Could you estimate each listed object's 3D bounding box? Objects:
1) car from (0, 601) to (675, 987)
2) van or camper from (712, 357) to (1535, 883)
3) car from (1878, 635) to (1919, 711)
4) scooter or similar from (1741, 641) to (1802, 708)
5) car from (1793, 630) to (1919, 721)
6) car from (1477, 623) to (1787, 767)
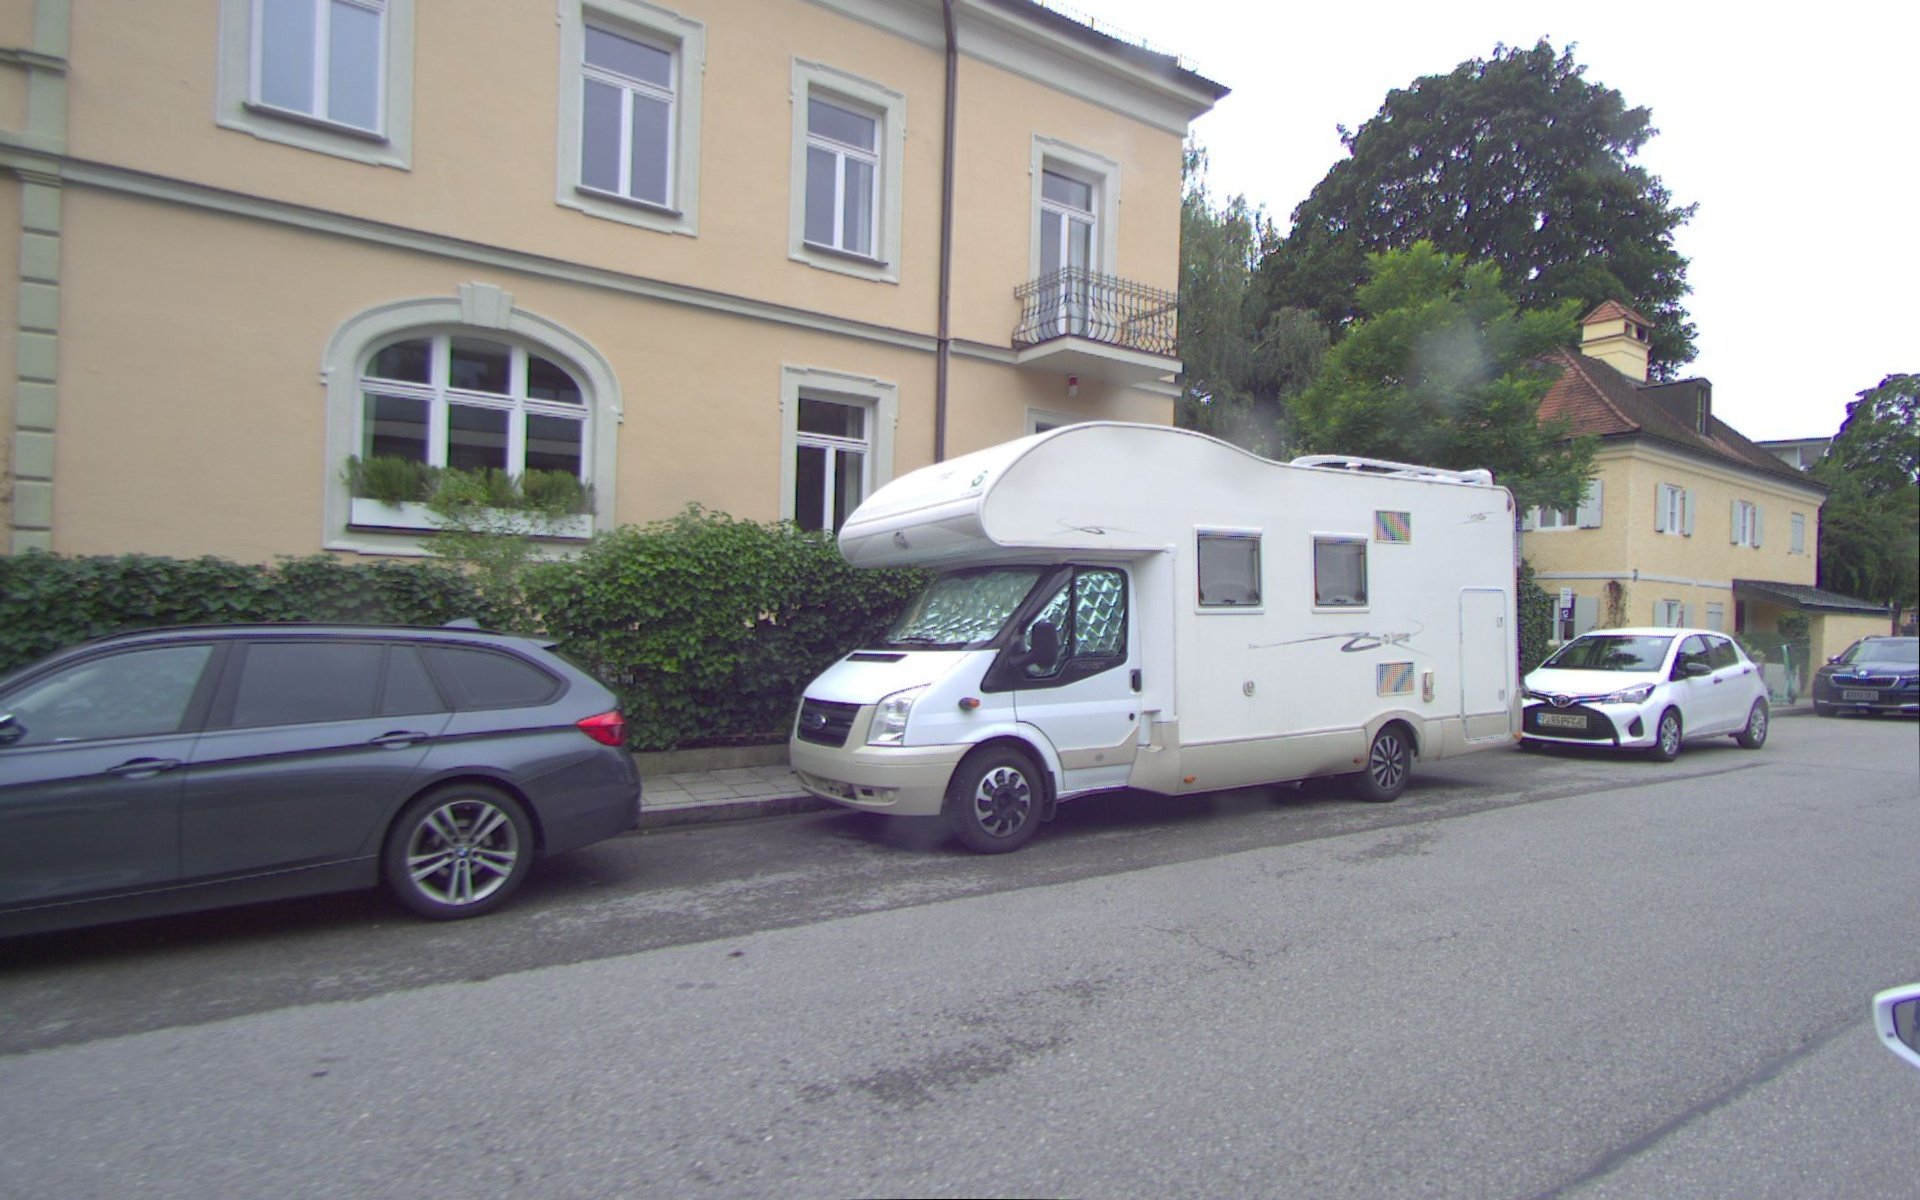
[{"bbox_3d":[-4.070,0.813,4.986,4.772,1.528,1.924,2,-3,-34],"label":"car"},{"bbox_3d":[1.745,0.216,8.622,7.130,2.979,2.442,2,-2,-32],"label":"van or camper"},{"bbox_3d":[21.767,1.538,21.648,4.472,1.555,1.835,2,-3,-33],"label":"car"},{"bbox_3d":[15.377,1.388,19.034,1.356,1.204,0.450,2,1,-33],"label":"scooter or similar"},{"bbox_3d":[17.776,1.399,19.041,4.393,1.555,1.835,2,-3,-33],"label":"car"},{"bbox_3d":[8.587,1.105,12.742,4.183,1.555,1.768,2,-3,-33],"label":"car"}]
